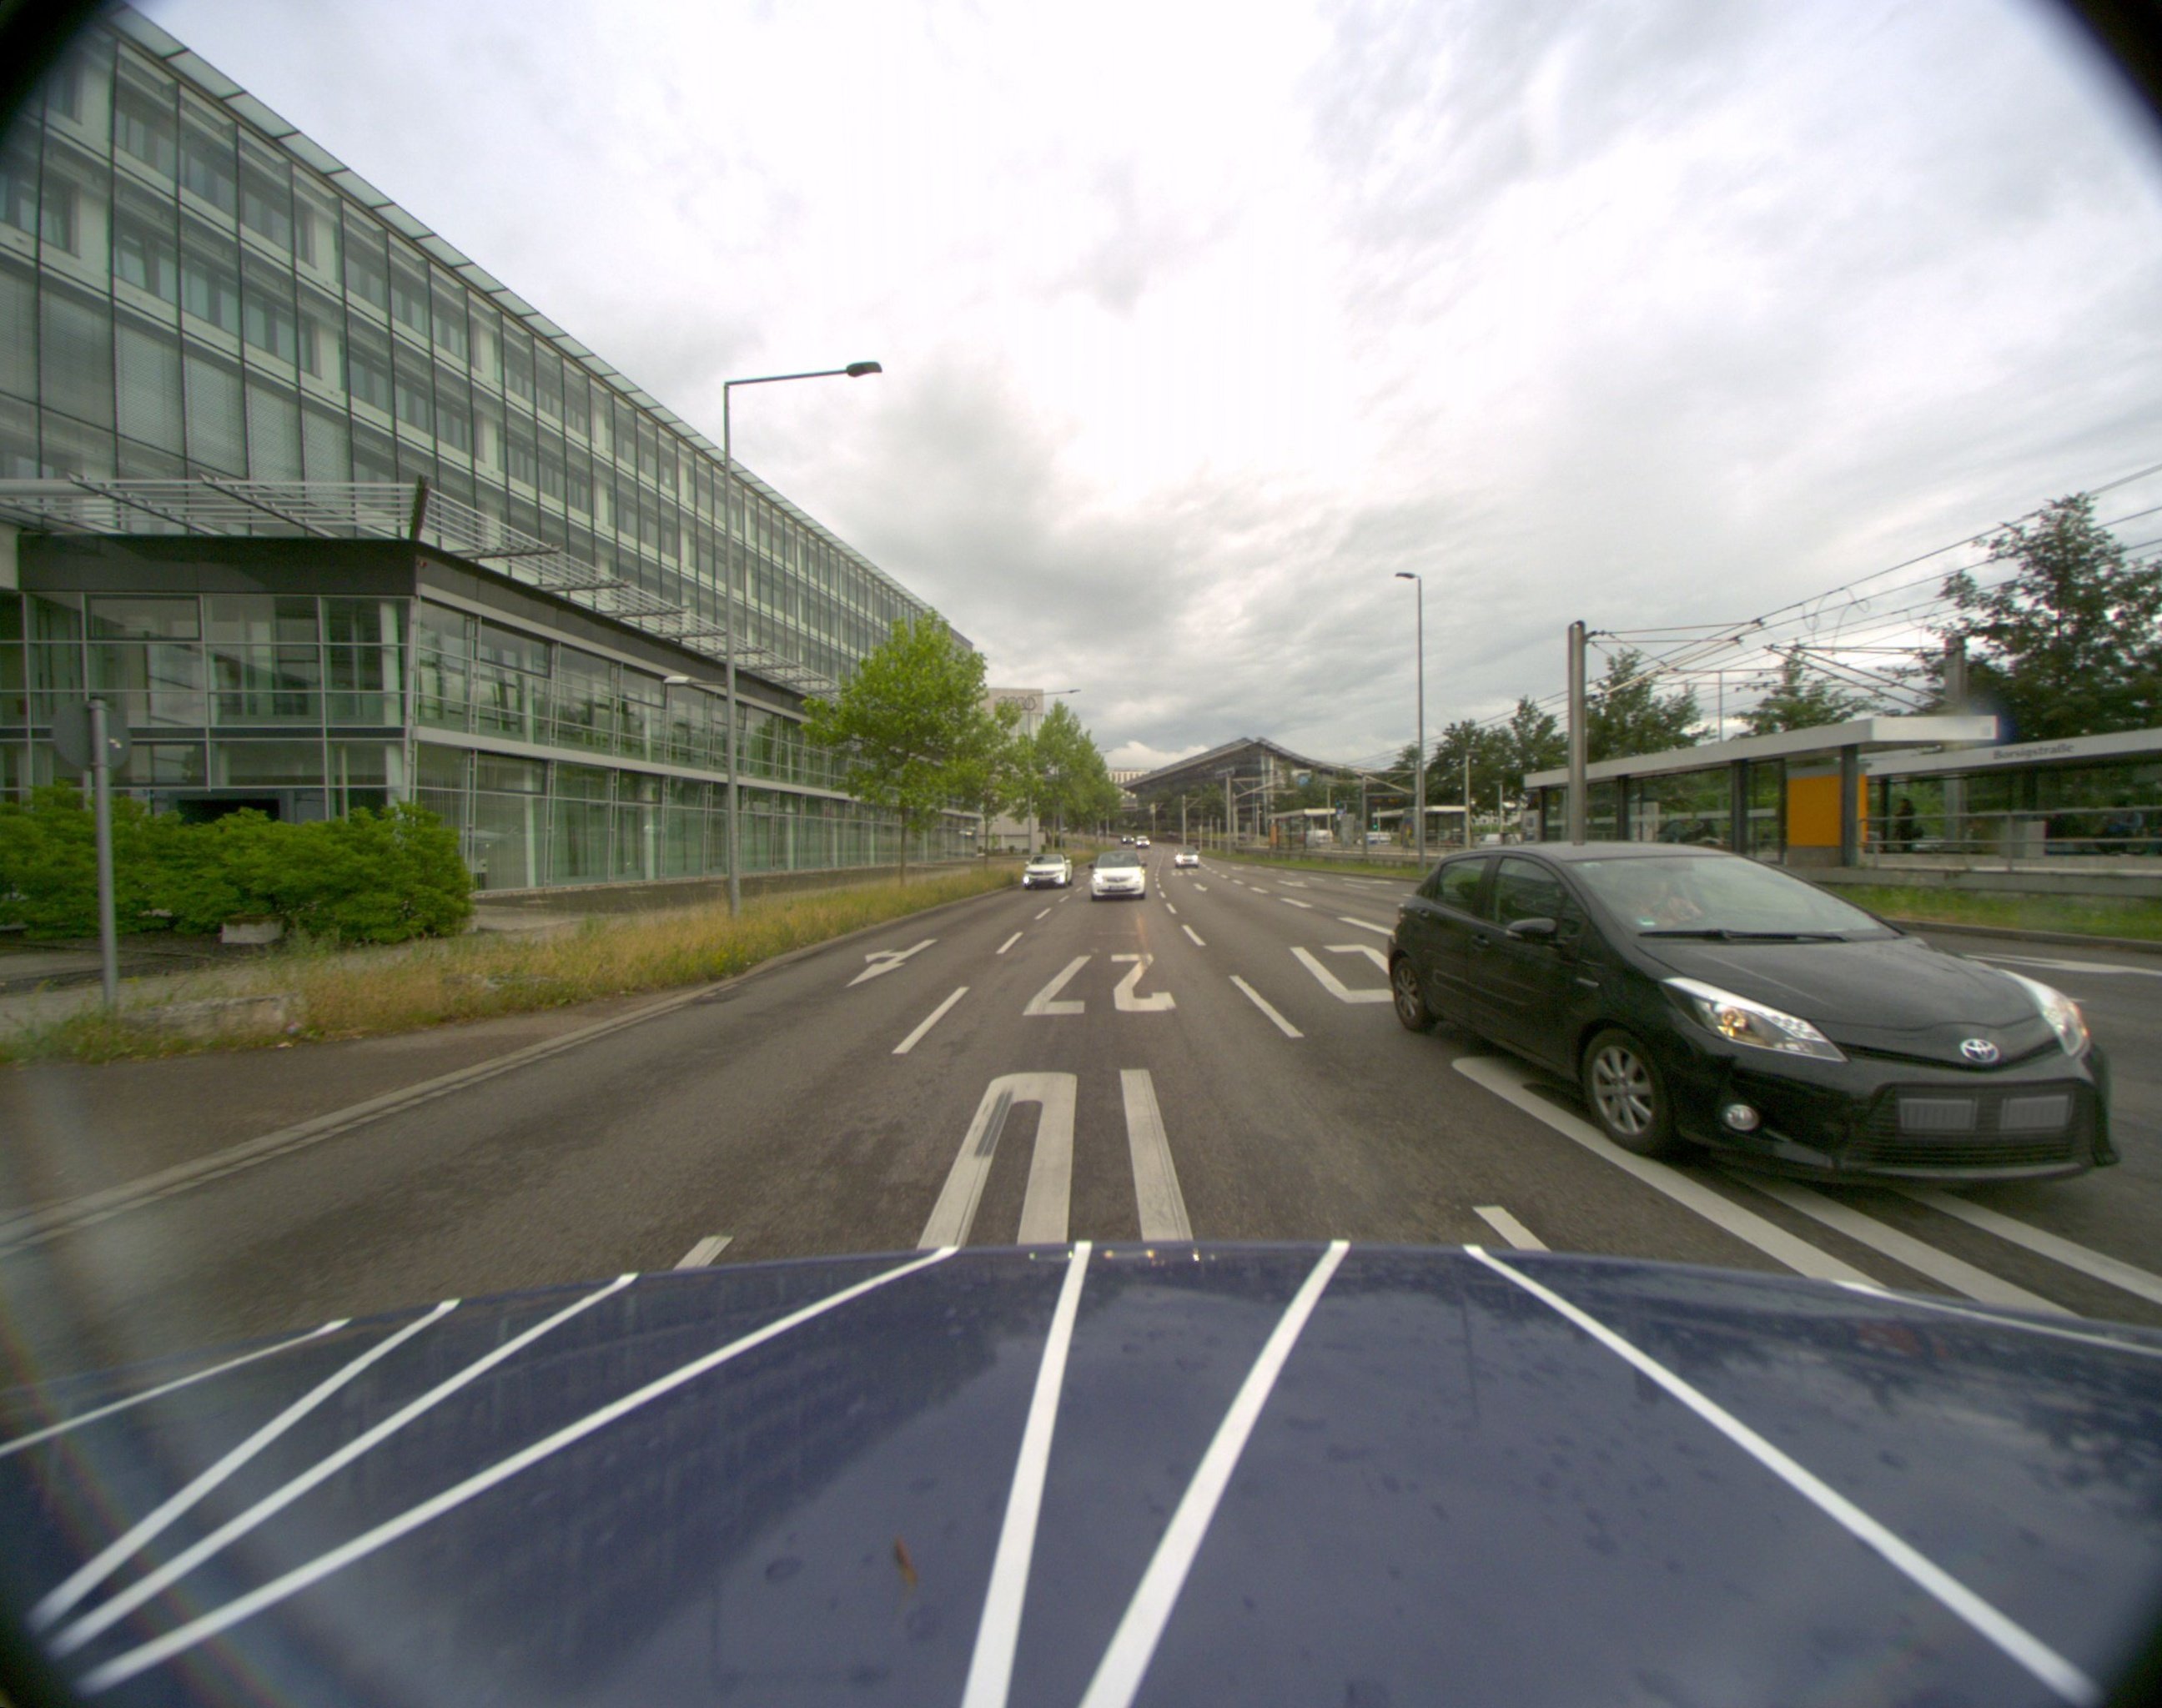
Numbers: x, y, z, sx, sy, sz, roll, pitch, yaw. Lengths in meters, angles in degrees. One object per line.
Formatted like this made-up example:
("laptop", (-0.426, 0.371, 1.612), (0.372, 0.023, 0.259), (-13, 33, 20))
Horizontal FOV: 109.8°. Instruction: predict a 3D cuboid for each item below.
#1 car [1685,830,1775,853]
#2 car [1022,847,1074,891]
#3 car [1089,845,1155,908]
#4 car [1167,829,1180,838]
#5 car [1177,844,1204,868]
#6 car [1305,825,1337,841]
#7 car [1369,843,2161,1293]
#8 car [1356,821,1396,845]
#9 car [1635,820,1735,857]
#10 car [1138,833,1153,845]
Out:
("car", (35.610, -0.730, 41.835), (1.530, 1.124, 3.933), (-3, 2, -1))
("car", (-1.388, 0.614, 33.489), (1.998, 1.669, 3.821), (-3, 1, 1))
("car", (1.236, 0.636, 23.991), (1.805, 1.713, 4.000), (-3, 1, 2))
("car", (19.650, -4.318, 161.860), (1.999, 1.837, 3.998), (-3, 2, -2))
("car", (7.620, 0.097, 52.938), (1.739, 1.470, 4.001), (-3, 1, 8))
("car", (28.537, -2.511, 90.504), (1.999, 1.721, 5.028), (-3, 2, -1))
("car", (3.352, 0.749, 4.594), (1.697, 1.514, 3.904), (-2, 0, 0))
("car", (29.061, -2.105, 75.100), (1.998, 2.202, 5.142), (-3, 2, 1))
("car", (29.577, -0.783, 37.397), (1.532, 1.657, 4.267), (-3, 2, 0))
("car", (9.745, -2.300, 115.063), (1.829, 1.701, 4.152), (-3, 2, 1))
